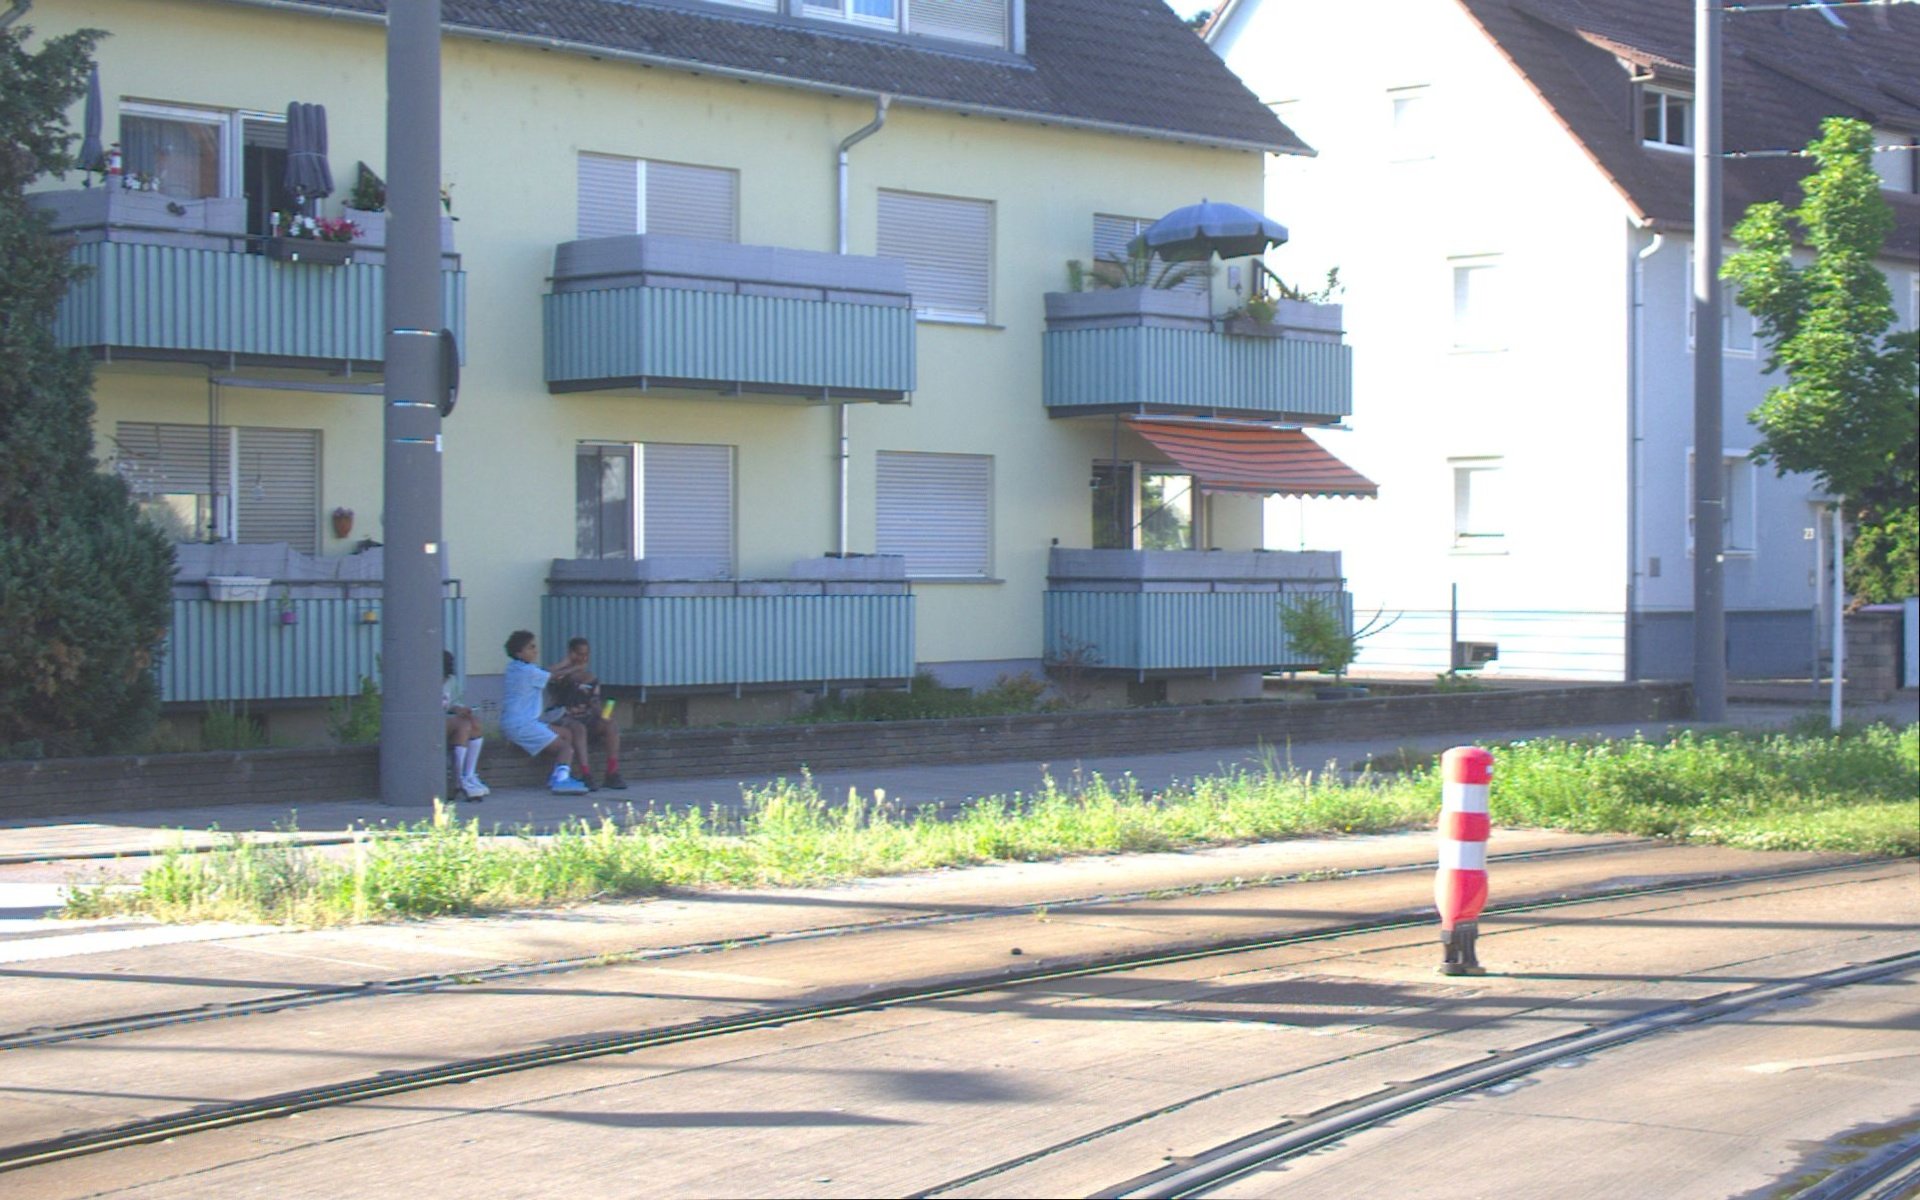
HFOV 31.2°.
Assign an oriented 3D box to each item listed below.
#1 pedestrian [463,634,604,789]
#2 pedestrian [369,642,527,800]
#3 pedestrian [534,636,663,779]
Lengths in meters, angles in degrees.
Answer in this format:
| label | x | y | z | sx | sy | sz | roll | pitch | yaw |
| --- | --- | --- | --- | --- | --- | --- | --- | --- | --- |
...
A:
| label | x | y | z | sx | sy | sz | roll | pitch | yaw |
| --- | --- | --- | --- | --- | --- | --- | --- | --- | --- |
| pedestrian | -3.006 | 0.780 | 24.250 | 0.817 | 1.061 | 0.626 | 1 | -1 | 10 |
| pedestrian | -3.505 | 0.818 | 23.548 | 0.819 | 1.043 | 0.686 | 1 | 0 | 41 |
| pedestrian | -2.613 | 0.772 | 24.855 | 0.722 | 1.002 | 0.594 | 1 | -1 | 19 |
